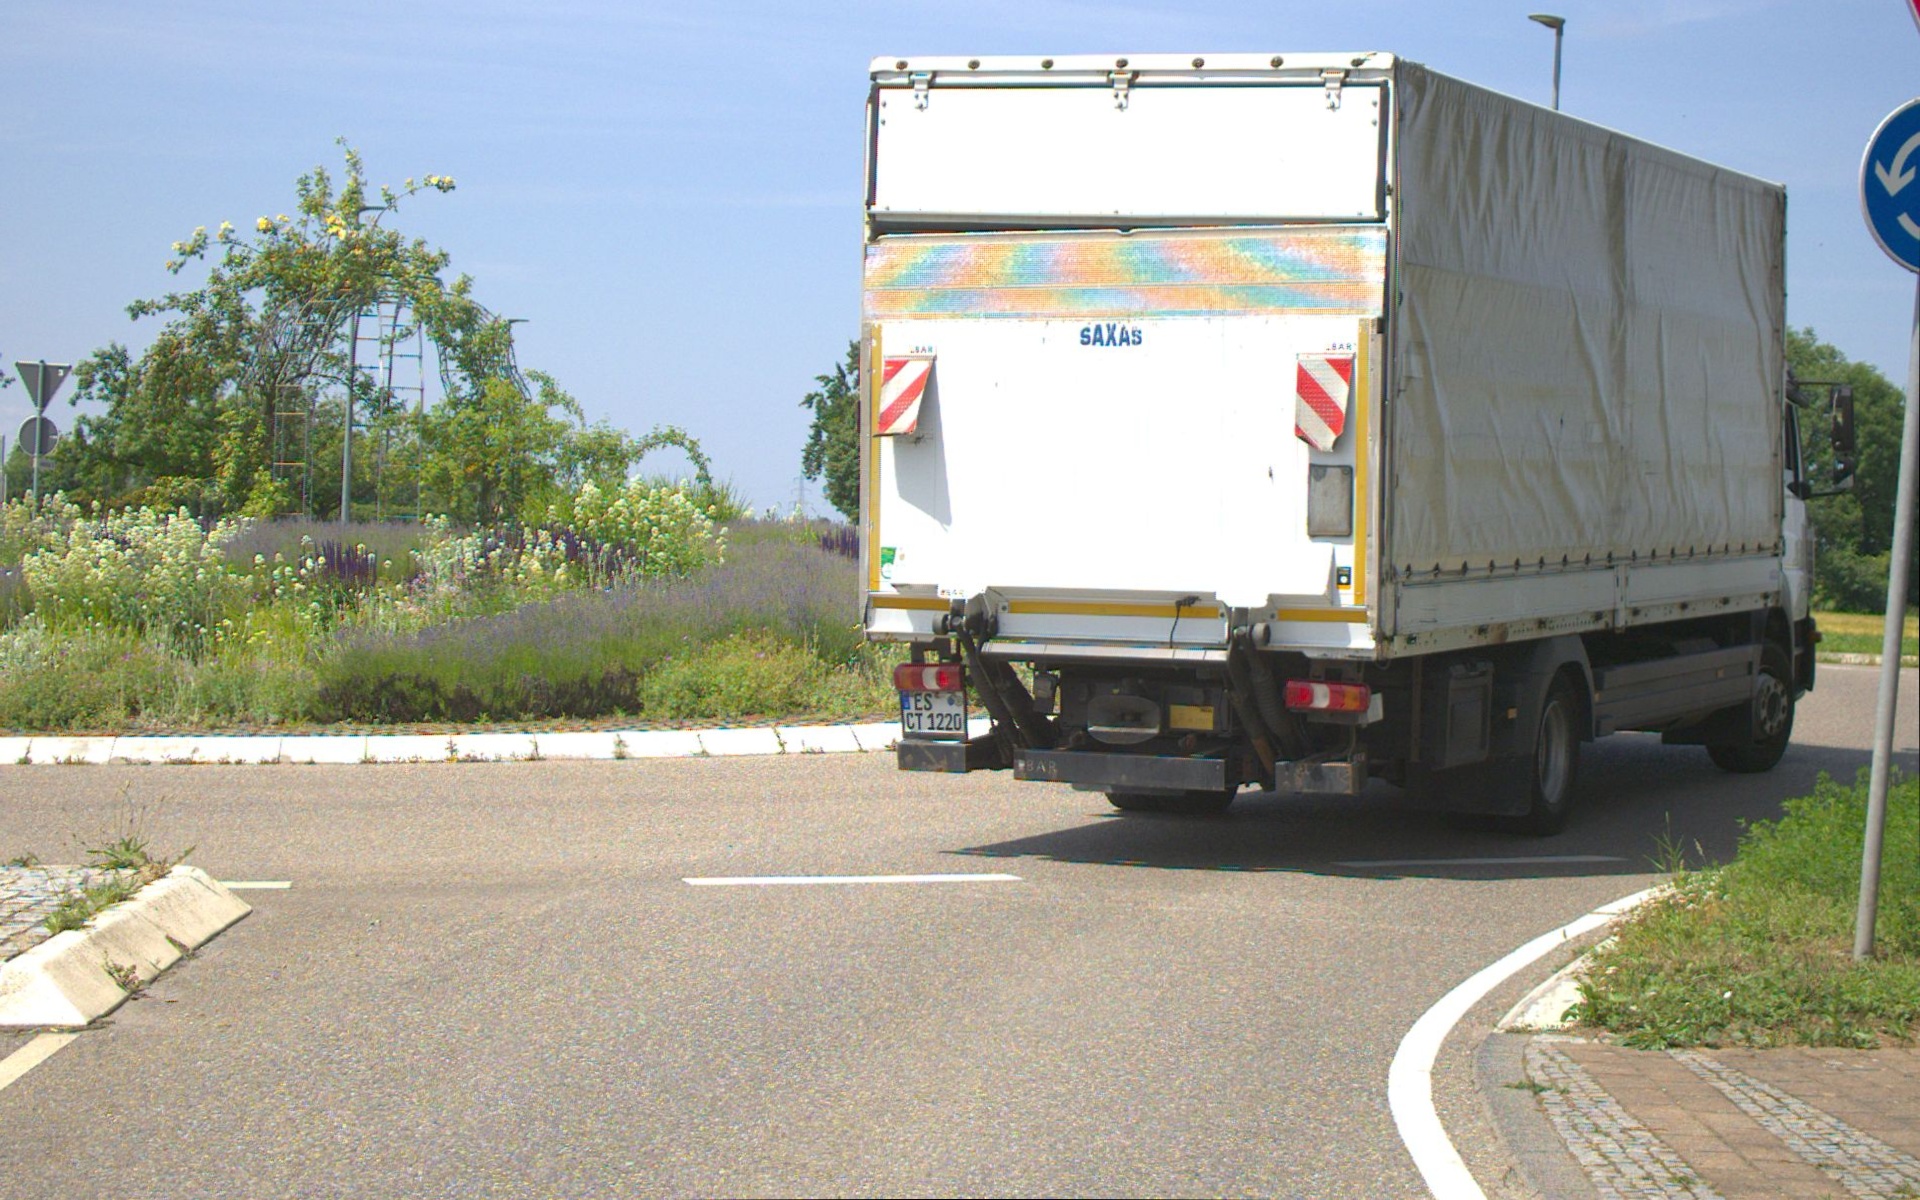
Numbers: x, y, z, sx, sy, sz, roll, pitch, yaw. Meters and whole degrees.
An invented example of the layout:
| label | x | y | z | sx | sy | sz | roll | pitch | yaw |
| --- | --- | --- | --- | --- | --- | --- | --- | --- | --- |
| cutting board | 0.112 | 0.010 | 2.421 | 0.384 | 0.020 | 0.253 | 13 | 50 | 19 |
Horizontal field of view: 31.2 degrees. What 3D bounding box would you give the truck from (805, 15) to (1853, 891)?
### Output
| label | x | y | z | sx | sy | sz | roll | pitch | yaw |
| --- | --- | --- | --- | --- | --- | --- | --- | --- | --- |
| truck | 2.602 | -0.737 | 19.190 | 2.771 | 3.658 | 9.370 | 2 | 2 | 26 |
